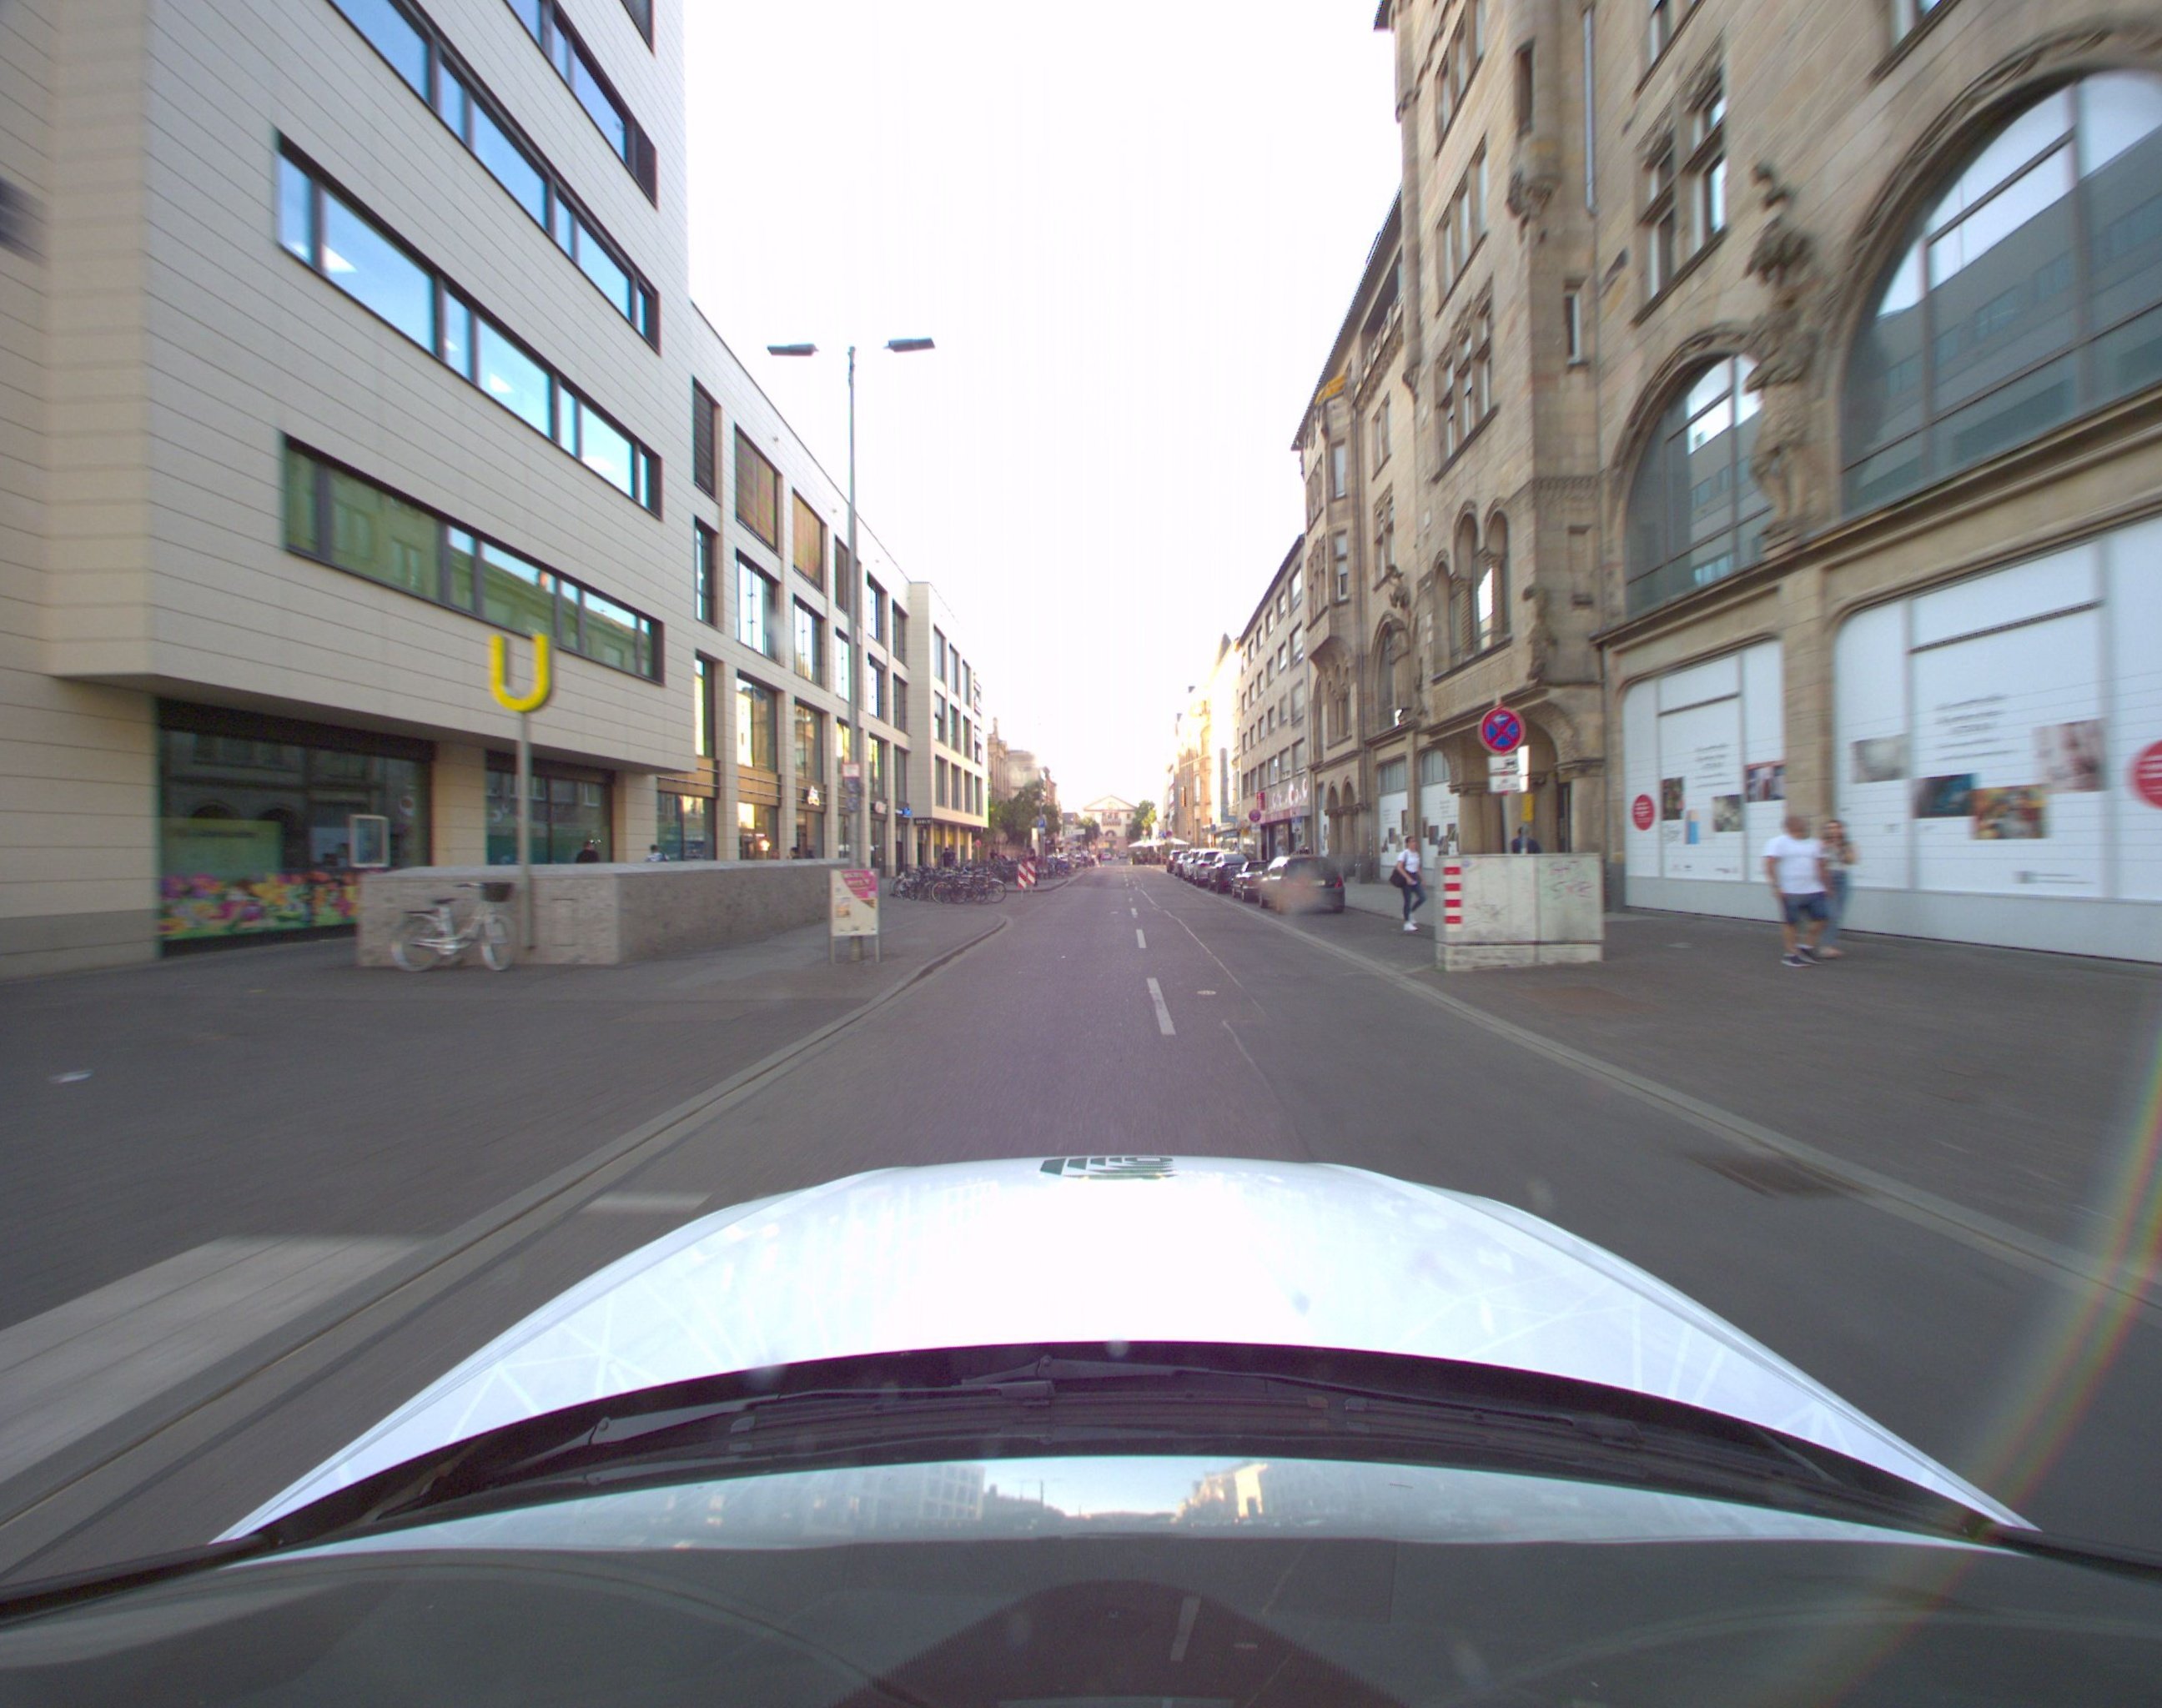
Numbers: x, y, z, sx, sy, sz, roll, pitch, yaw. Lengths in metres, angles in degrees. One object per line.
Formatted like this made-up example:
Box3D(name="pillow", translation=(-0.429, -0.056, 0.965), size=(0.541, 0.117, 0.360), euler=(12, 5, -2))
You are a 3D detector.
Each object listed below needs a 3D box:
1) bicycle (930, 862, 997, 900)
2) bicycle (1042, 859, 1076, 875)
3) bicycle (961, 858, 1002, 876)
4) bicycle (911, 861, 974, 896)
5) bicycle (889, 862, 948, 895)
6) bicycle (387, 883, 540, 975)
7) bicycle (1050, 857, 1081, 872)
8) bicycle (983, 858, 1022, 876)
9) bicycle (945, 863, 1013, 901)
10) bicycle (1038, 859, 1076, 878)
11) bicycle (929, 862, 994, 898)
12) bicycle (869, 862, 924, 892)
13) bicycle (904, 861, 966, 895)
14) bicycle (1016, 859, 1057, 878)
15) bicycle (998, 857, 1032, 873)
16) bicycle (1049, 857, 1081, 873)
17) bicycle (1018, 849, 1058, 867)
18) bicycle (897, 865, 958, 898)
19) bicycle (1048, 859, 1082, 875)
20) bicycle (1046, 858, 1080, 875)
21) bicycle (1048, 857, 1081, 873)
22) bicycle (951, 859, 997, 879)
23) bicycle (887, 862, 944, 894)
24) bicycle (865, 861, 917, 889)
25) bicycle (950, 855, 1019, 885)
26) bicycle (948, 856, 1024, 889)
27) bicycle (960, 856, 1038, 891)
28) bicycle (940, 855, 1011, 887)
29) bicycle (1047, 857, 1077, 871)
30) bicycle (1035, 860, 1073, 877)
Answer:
Box3D(name="bicycle", translation=(-3.659, 0.827, 25.435), size=(1.978, 1.121, 0.553), euler=(0, 0, -27))
Box3D(name="bicycle", translation=(-1.400, 0.825, 51.894), size=(2.138, 1.029, 0.641), euler=(-1, 0, 4))
Box3D(name="bicycle", translation=(-5.489, 0.714, 44.926), size=(2.138, 0.953, 0.641), euler=(-1, 0, 4))
Box3D(name="bicycle", translation=(-4.588, 0.815, 27.039), size=(1.978, 1.121, 0.553), euler=(0, 0, -27))
Box3D(name="bicycle", translation=(-5.760, 0.858, 28.954), size=(1.978, 1.121, 0.553), euler=(0, 0, -27))
Box3D(name="bicycle", translation=(-7.986, 0.955, 10.546), size=(1.688, 1.121, 0.451), euler=(0, 0, 4))
Box3D(name="bicycle", translation=(-1.091, 0.742, 57.112), size=(2.138, 1.029, 0.641), euler=(-1, 0, 4))
Box3D(name="bicycle", translation=(-4.572, 0.750, 47.285), size=(2.138, 0.953, 0.641), euler=(-1, 0, 4))
Box3D(name="bicycle", translation=(-3.081, 0.835, 24.664), size=(1.978, 1.121, 0.553), euler=(0, 0, -27))
Box3D(name="bicycle", translation=(-1.400, 0.838, 47.680), size=(2.138, 1.029, 0.641), euler=(-1, 0, 4))
Box3D(name="bicycle", translation=(-3.823, 0.824, 26.158), size=(1.978, 1.121, 0.553), euler=(0, 0, -27))
Box3D(name="bicycle", translation=(-7.025, 0.853, 30.993), size=(1.978, 1.121, 0.553), euler=(0, 0, -27))
Box3D(name="bicycle", translation=(-4.962, 0.810, 27.694), size=(1.978, 1.121, 0.553), euler=(0, 0, -27))
Box3D(name="bicycle", translation=(-2.392, 0.786, 43.937), size=(2.138, 0.953, 0.641), euler=(-1, 0, 4))
Box3D(name="bicycle", translation=(-4.289, 0.723, 52.845), size=(2.138, 0.953, 0.641), euler=(-1, 0, 4))
Box3D(name="bicycle", translation=(-1.080, 0.745, 56.075), size=(2.138, 1.029, 0.641), euler=(-1, 0, 4))
Box3D(name="bicycle", translation=(-2.382, 0.239, 45.356), size=(2.138, 0.953, 0.641), euler=(-1, 0, 4))
Box3D(name="bicycle", translation=(-5.333, 0.946, 28.334), size=(1.978, 1.121, 0.553), euler=(0, 0, -27))
Box3D(name="bicycle", translation=(-1.020, 0.826, 52.673), size=(2.138, 1.029, 0.641), euler=(-1, 0, 4))
Box3D(name="bicycle", translation=(-1.153, 0.823, 53.408), size=(2.138, 1.029, 0.641), euler=(-1, 0, 4))
Box3D(name="bicycle", translation=(-1.104, 0.747, 55.305), size=(2.138, 1.029, 0.641), euler=(-1, 0, 4))
Box3D(name="bicycle", translation=(-5.362, 0.762, 40.885), size=(2.138, 0.953, 0.641), euler=(-1, 0, 4))
Box3D(name="bicycle", translation=(-6.071, 0.864, 29.912), size=(1.978, 1.121, 0.553), euler=(0, 0, -27))
Box3D(name="bicycle", translation=(-7.738, 0.840, 33.190), size=(1.978, 1.121, 0.553), euler=(0, 0, -27))
Box3D(name="bicycle", translation=(-4.293, 0.711, 36.316), size=(2.900, 1.255, 0.798), euler=(-1, 0, -24))
Box3D(name="bicycle", translation=(-3.797, 0.726, 32.634), size=(2.900, 1.255, 0.798), euler=(-1, 0, -24))
Box3D(name="bicycle", translation=(-3.155, 0.734, 31.527), size=(2.900, 1.255, 0.798), euler=(-1, 0, -24))
Box3D(name="bicycle", translation=(-4.514, 0.713, 34.848), size=(2.900, 1.255, 0.798), euler=(-1, 0, -24))
Box3D(name="bicycle", translation=(-1.398, 0.728, 60.925), size=(2.138, 1.029, 0.641), euler=(-1, 0, 4))
Box3D(name="bicycle", translation=(-1.555, 0.839, 46.807), size=(2.138, 0.953, 0.641), euler=(-1, 0, 4))
